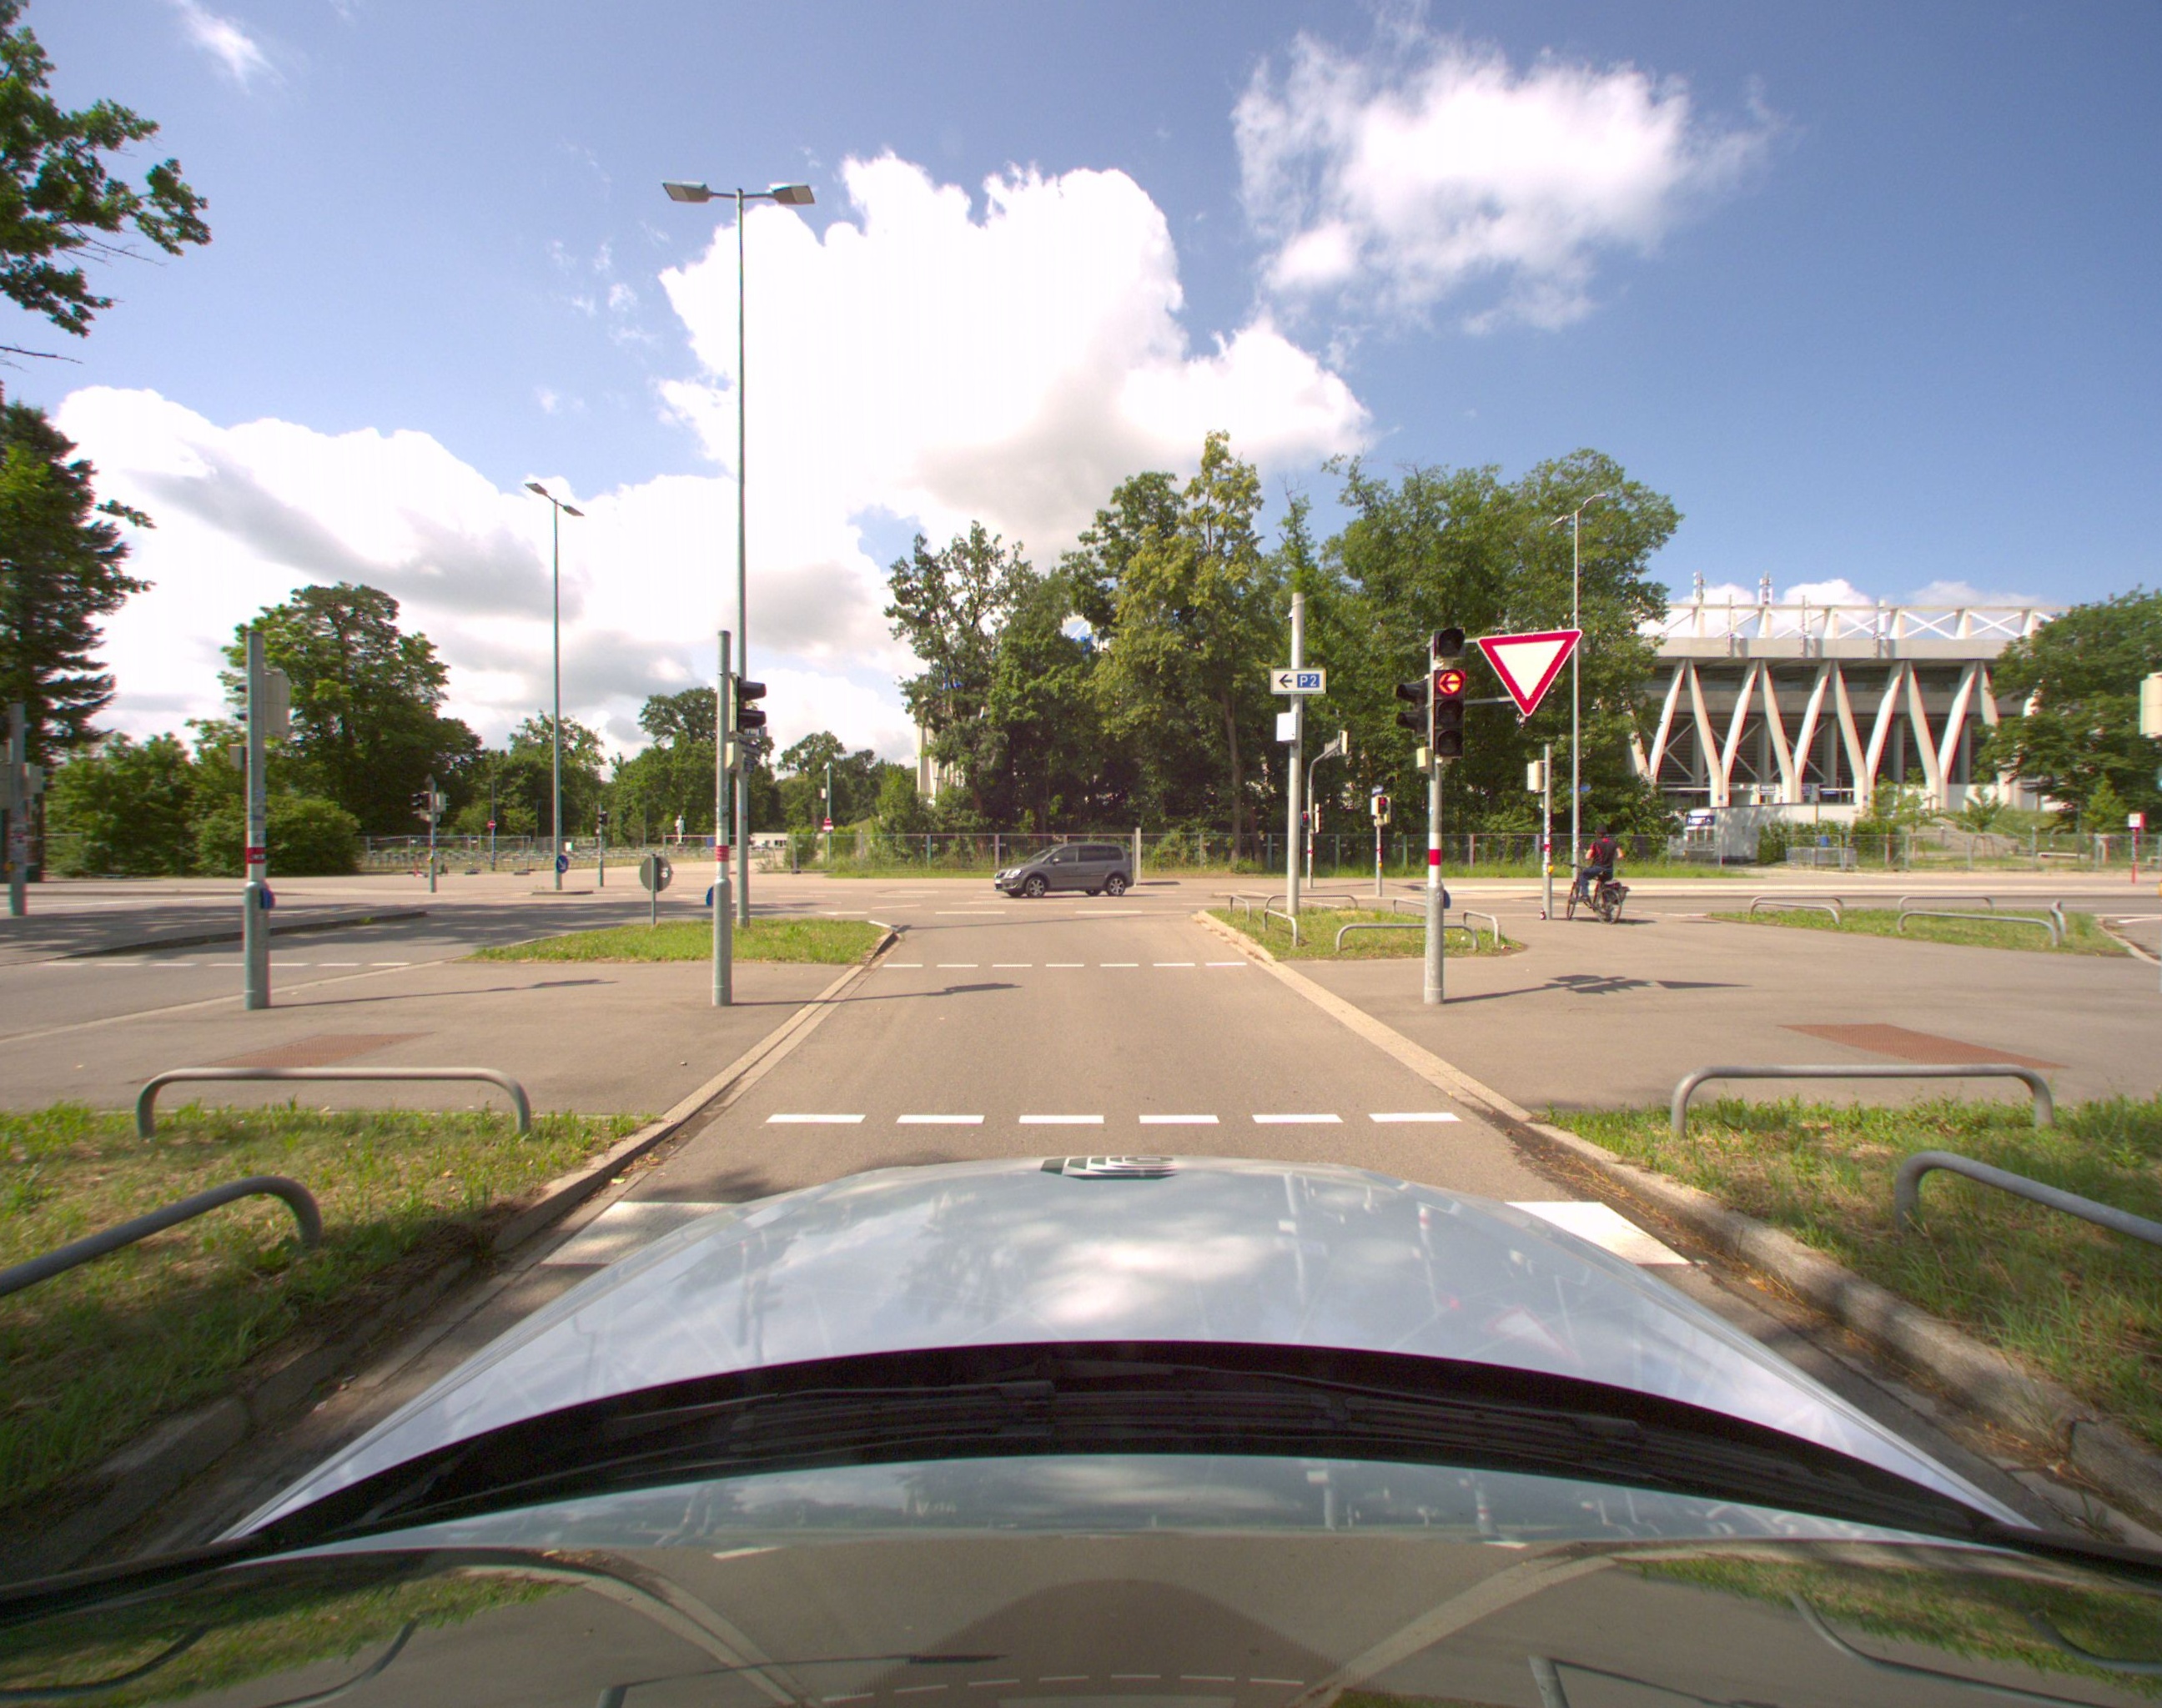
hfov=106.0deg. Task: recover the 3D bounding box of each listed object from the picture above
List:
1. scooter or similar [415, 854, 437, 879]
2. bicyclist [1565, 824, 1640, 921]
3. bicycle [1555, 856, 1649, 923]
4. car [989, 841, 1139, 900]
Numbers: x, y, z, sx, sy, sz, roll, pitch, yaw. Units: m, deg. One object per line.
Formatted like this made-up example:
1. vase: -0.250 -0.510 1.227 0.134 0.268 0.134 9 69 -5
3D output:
1. scooter or similar: -32.109 0.601 39.897 1.295 1.200 0.410 0 1 31
2. bicyclist: 9.950 0.344 15.578 0.879 1.798 0.981 -1 -1 11
3. bicycle: 9.961 0.640 15.664 0.875 1.206 1.903 -1 -1 11
4. car: -0.511 0.455 25.123 4.306 1.629 1.752 -1 1 -25
